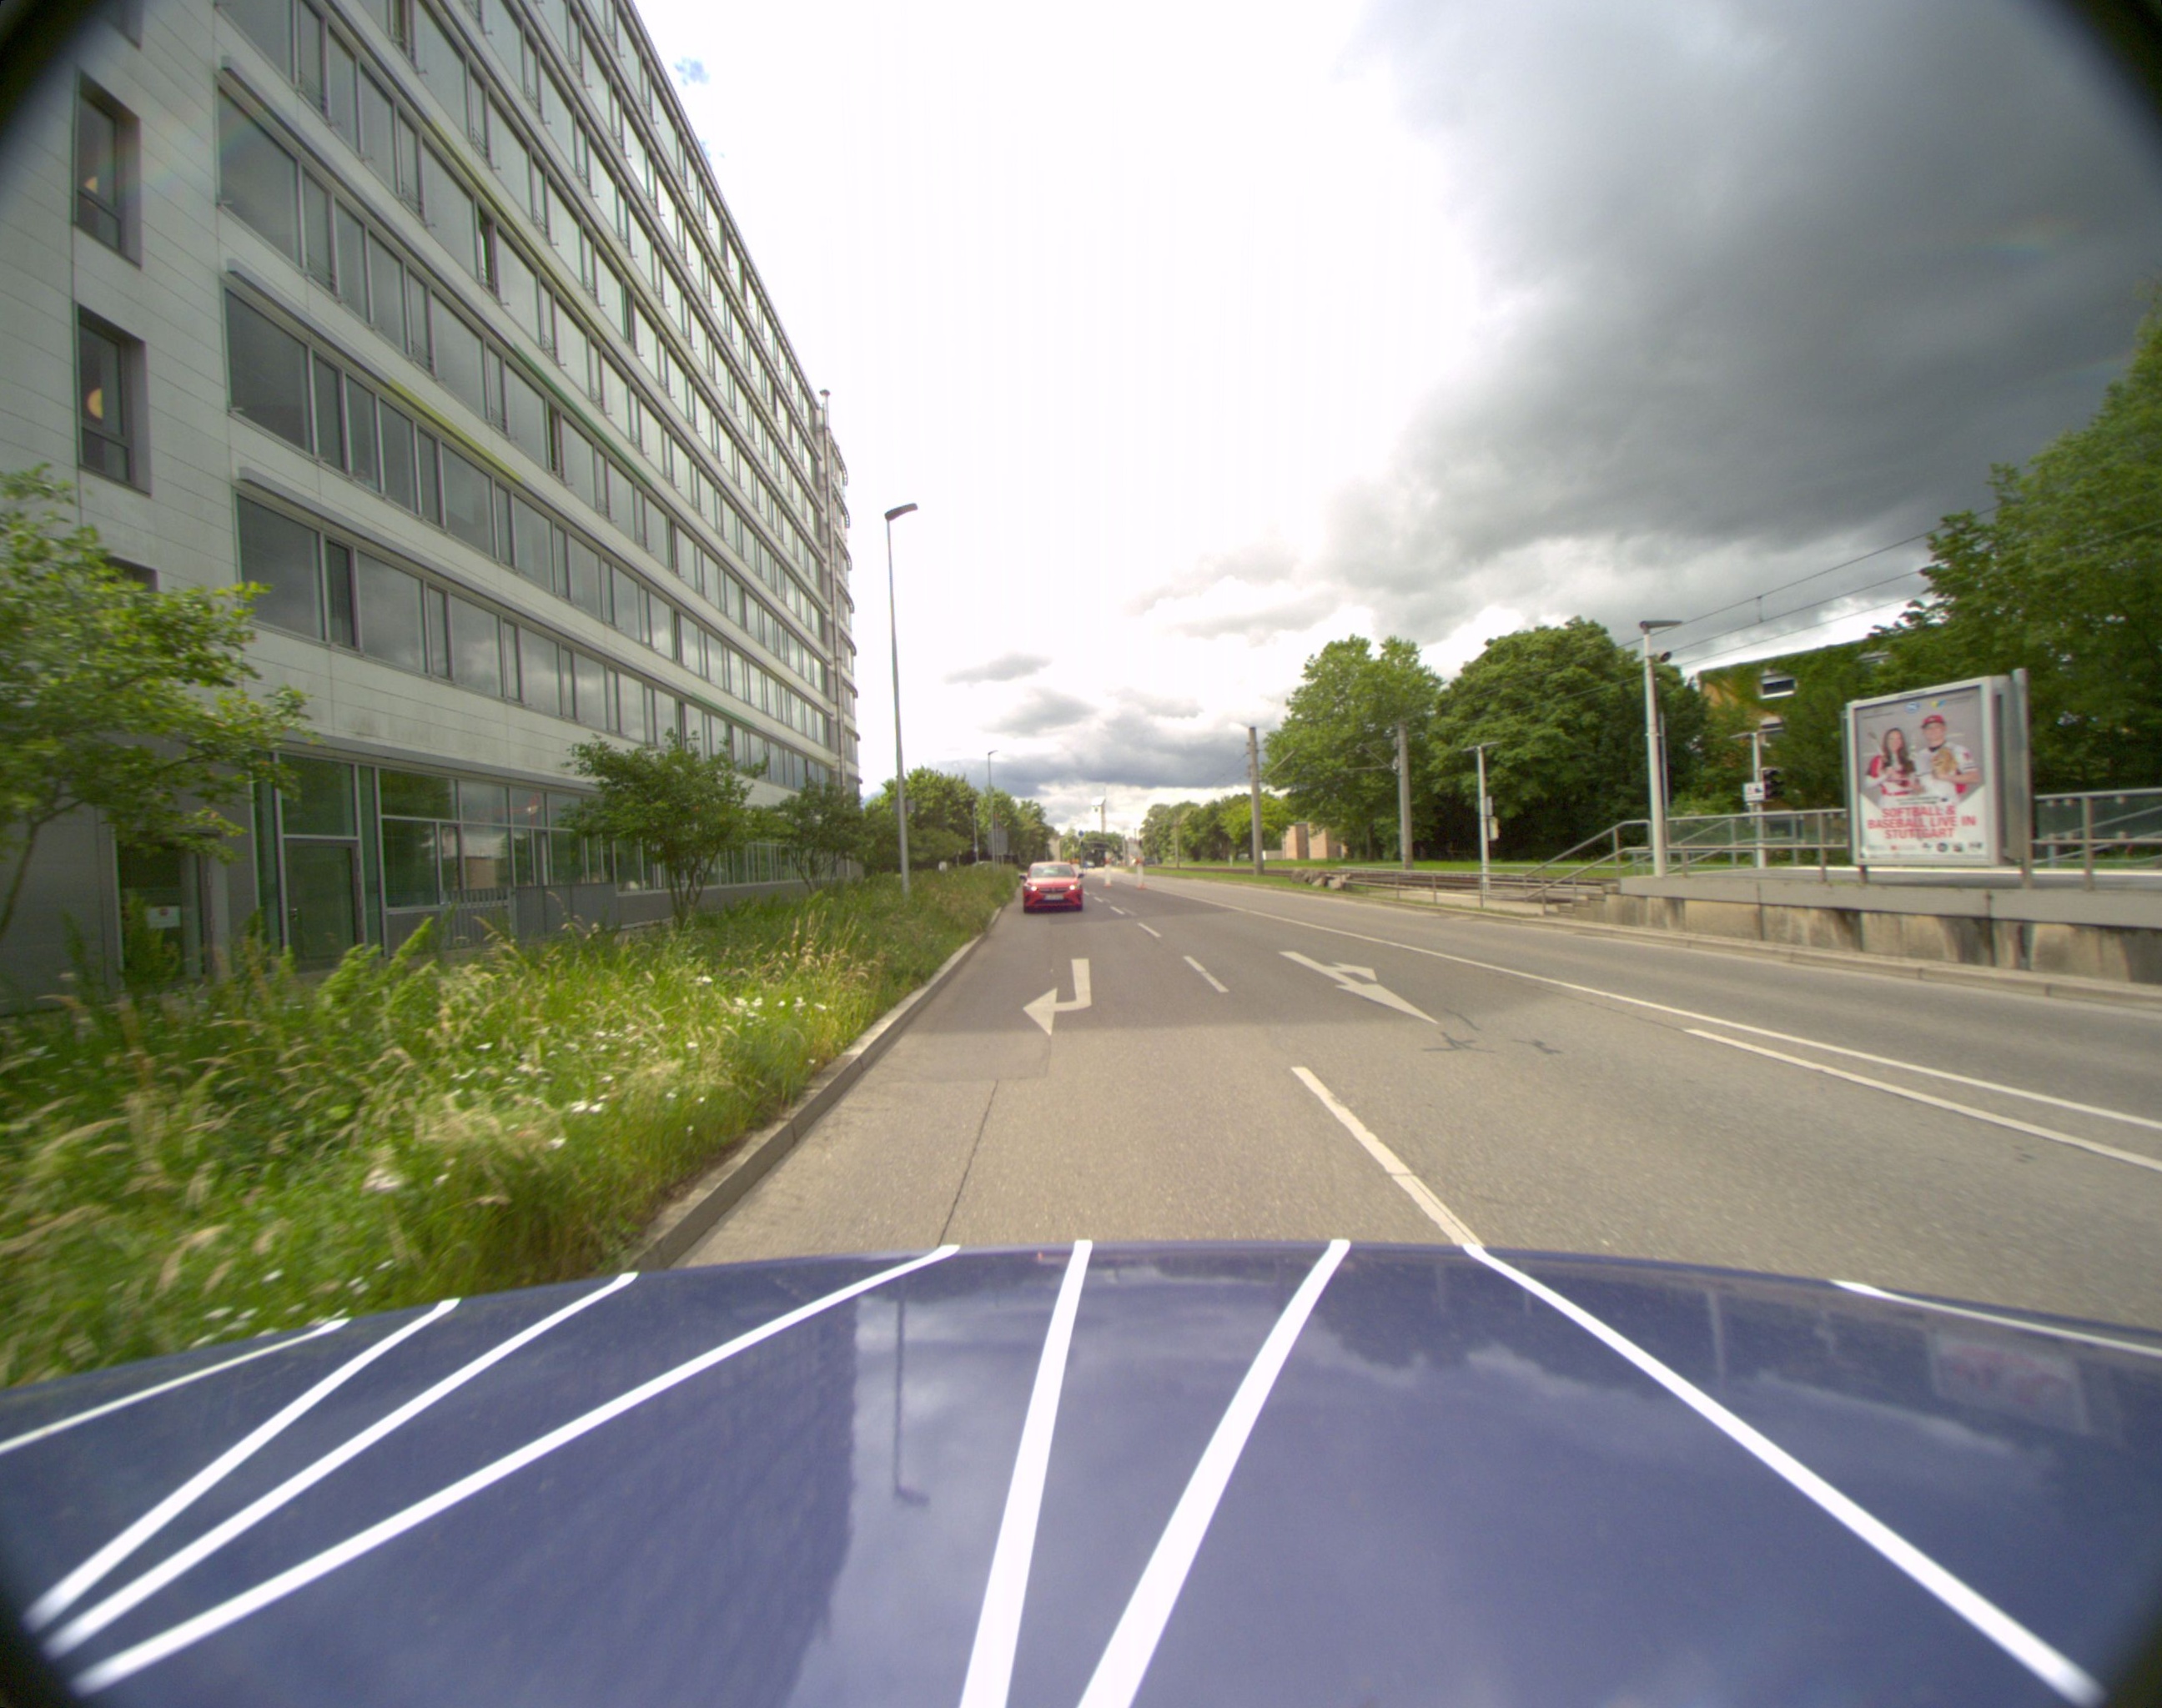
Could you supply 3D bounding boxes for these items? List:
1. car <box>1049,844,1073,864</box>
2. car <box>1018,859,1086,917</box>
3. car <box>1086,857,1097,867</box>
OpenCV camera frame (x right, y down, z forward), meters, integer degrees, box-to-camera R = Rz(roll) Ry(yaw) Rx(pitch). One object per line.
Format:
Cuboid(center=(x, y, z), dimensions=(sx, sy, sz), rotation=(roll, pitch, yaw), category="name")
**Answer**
Cuboid(center=(-1.624, -0.001, 63.761), dimensions=(1.841, 1.587, 4.000), rotation=(-3, 0, 0), category="car")
Cuboid(center=(-0.853, 0.949, 23.388), dimensions=(1.790, 1.453, 4.852), rotation=(-3, 0, -1), category="car")
Cuboid(center=(2.164, 1.627, 154.262), dimensions=(1.865, 1.599, 4.609), rotation=(-1, -4, -3), category="car")
